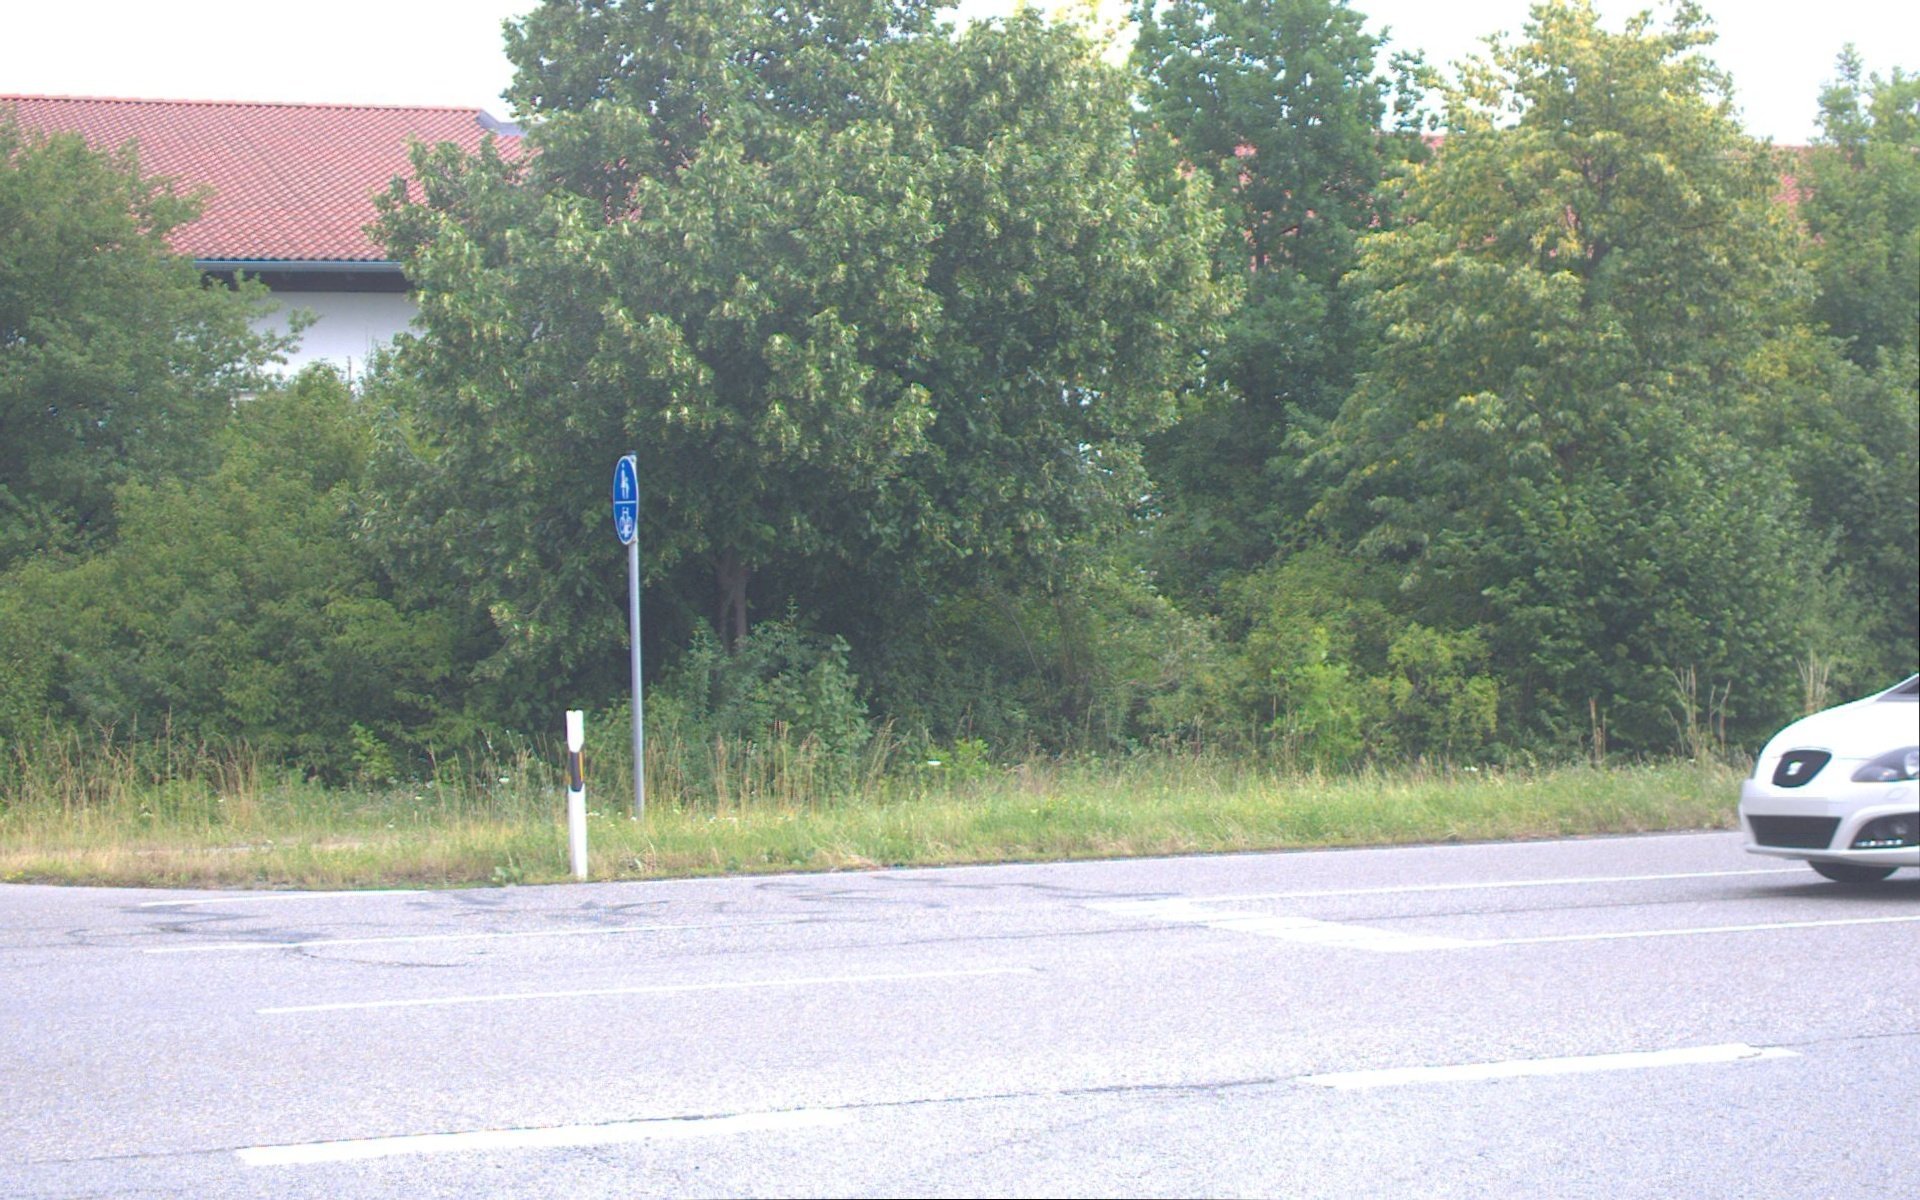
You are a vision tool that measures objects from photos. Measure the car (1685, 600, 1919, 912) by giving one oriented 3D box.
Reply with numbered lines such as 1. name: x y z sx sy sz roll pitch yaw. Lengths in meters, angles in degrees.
1. car: 6.001 0.661 17.183 4.297 1.403 1.820 -2 0 -21
